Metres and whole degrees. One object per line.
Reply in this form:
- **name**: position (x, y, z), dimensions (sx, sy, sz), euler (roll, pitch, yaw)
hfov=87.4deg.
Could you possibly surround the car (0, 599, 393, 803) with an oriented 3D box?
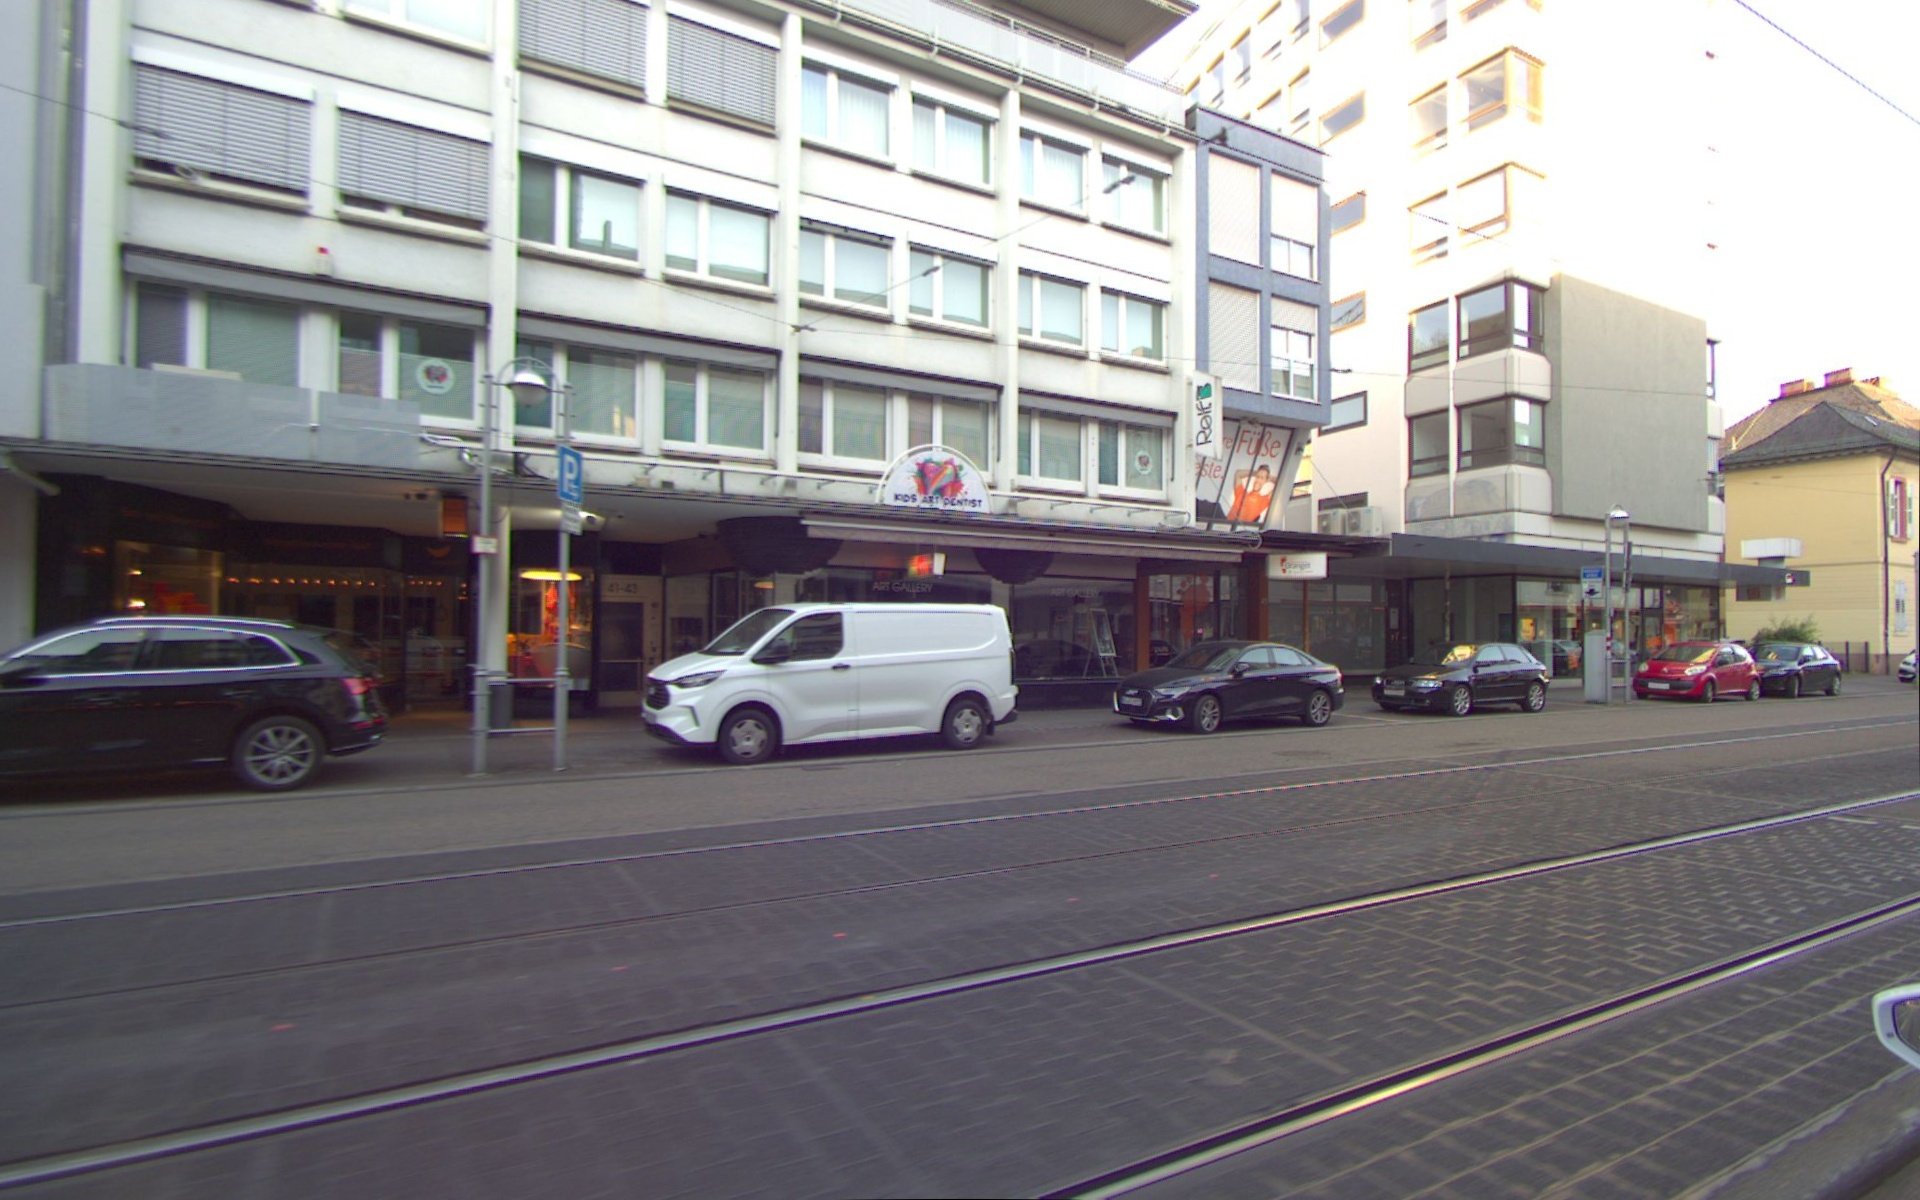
- **car**: position (-8.171, 0.896, 9.814), dimensions (4.535, 1.720, 1.984), euler (2, 0, -31)

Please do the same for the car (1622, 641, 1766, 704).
- **car**: position (18.524, 1.780, 25.341), dimensions (3.550, 1.453, 1.683), euler (1, -1, -31)

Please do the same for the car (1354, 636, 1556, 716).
- **car**: position (10.209, 1.505, 20.684), dimensions (4.042, 1.480, 1.782), euler (1, -2, -30)

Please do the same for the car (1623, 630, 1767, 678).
- **car**: position (27.774, 2.002, 38.077), dimensions (1.893, 1.573, 3.965), euler (2, 0, -32)

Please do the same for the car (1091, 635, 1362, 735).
- **car**: position (4.635, 1.392, 17.276), dimensions (4.518, 1.445, 1.863), euler (2, 0, -31)

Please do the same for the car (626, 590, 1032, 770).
- **car**: position (-1.668, 0.971, 13.542), dimensions (5.043, 2.040, 1.954), euler (2, 0, -32)

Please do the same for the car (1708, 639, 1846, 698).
- **car**: position (22.685, 1.860, 27.866), dimensions (3.919, 1.444, 1.683), euler (1, 0, -31)

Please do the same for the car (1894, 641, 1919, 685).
- **car**: position (34.614, 2.206, 35.141), dimensions (4.234, 1.472, 1.712), euler (1, 0, -31)
